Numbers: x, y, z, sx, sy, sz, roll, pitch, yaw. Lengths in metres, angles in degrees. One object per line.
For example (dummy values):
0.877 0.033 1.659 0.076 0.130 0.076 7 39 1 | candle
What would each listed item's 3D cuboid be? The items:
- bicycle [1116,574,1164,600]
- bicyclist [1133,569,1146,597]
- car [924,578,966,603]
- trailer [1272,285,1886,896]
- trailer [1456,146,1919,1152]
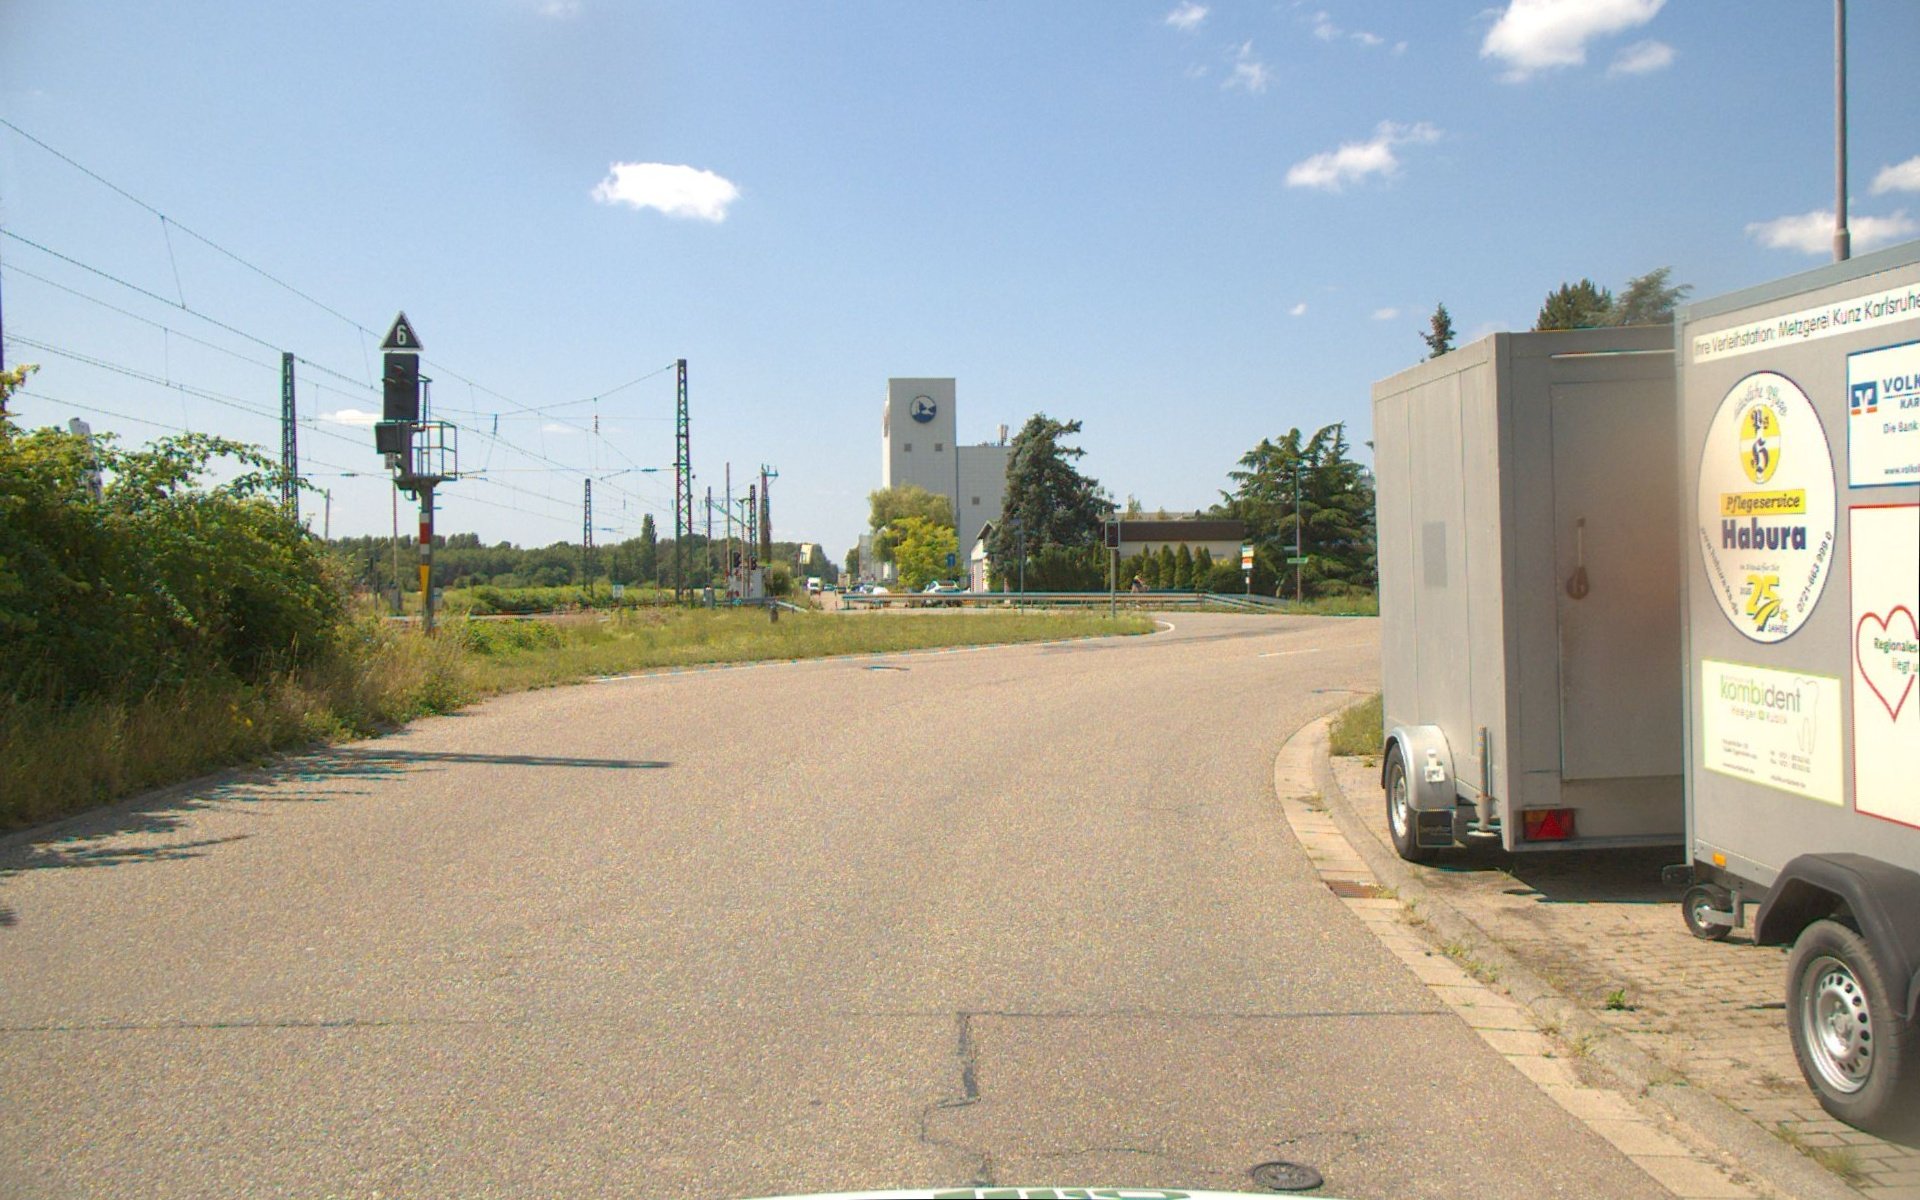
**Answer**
8.178 -0.579 75.132 2.095 1.185 0.661 0 1 21 | bicycle
8.170 -0.791 75.230 0.499 1.277 0.469 0 1 21 | bicyclist
-0.950 -0.608 102.844 1.957 1.536 4.445 -1 1 -9 | car
3.315 -0.086 10.145 1.893 2.690 5.186 -3 1 2 | trailer
3.319 0.089 5.039 1.881 2.551 4.738 -3 1 -3 | trailer
